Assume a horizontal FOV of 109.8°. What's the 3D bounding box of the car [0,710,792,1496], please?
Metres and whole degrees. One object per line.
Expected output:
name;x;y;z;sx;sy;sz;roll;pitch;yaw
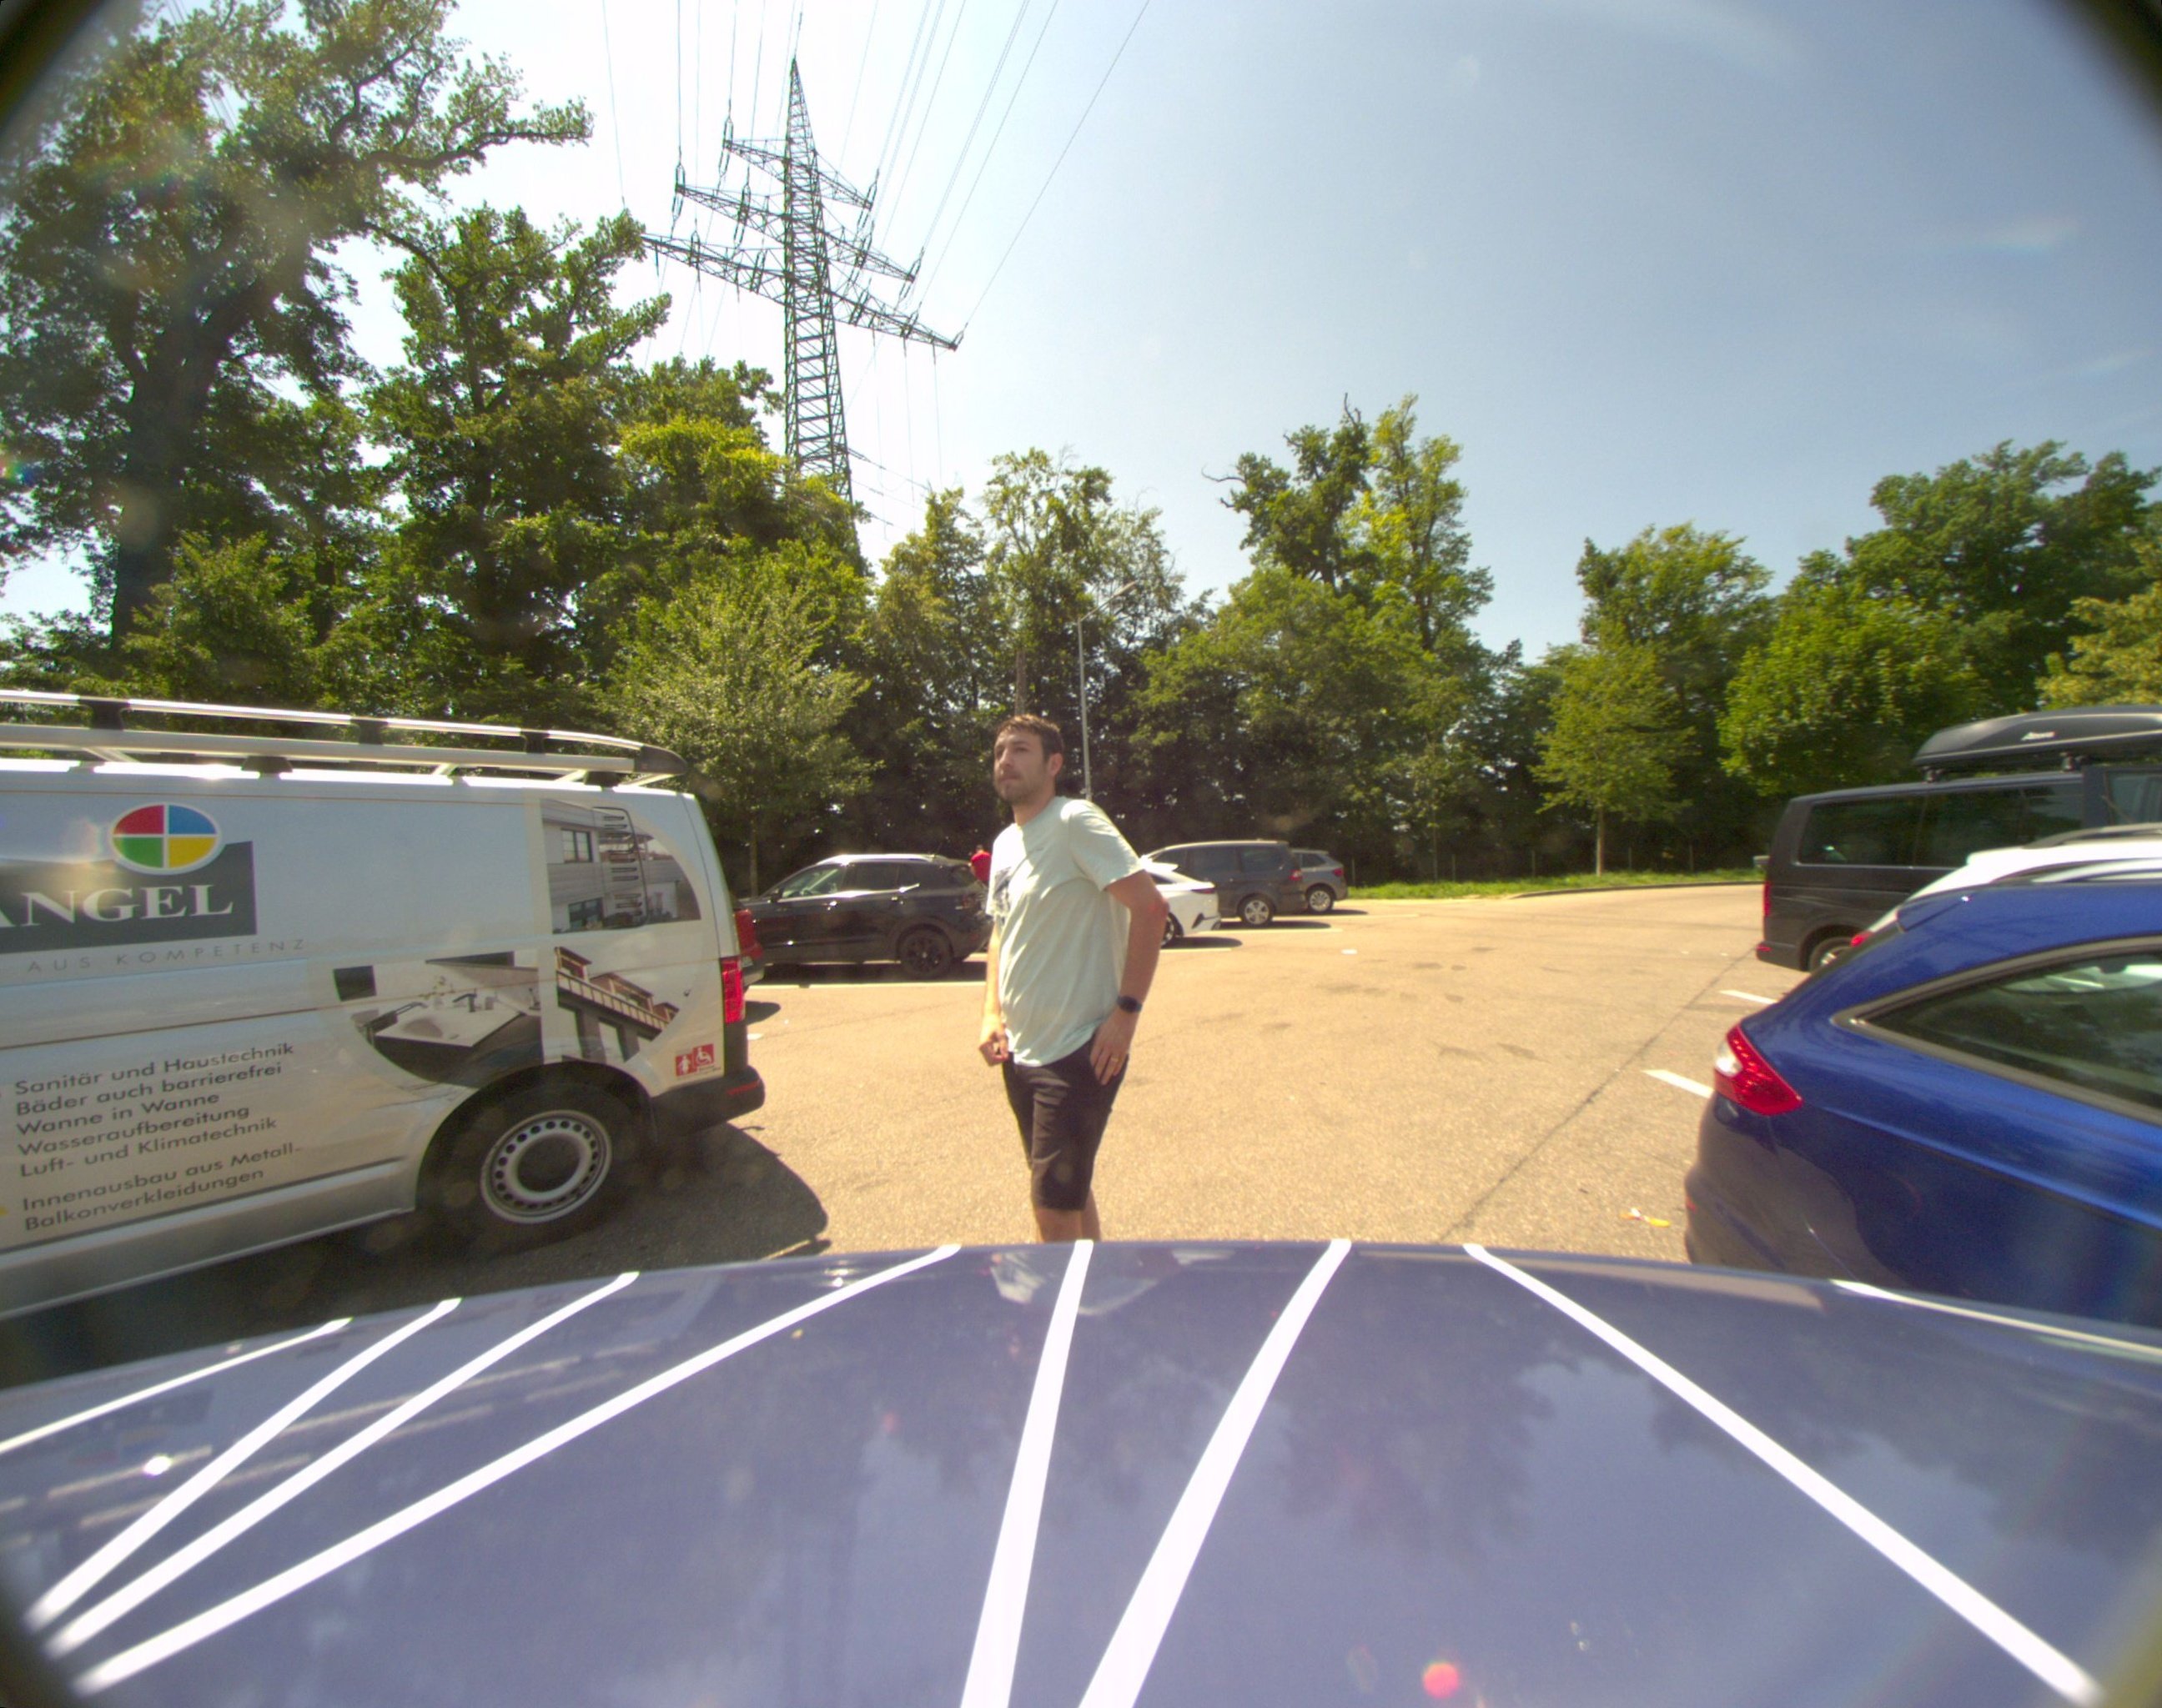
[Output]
car;-3.999;0.714;2.437;1.995;2.137;5.323;-2;-1;45

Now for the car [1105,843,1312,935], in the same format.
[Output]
car;2.513;0.680;15.517;3.882;1.680;1.882;-1;0;5

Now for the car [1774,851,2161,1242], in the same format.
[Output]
car;4.780;0.701;2.453;1.607;1.405;3.743;-2;-1;-1

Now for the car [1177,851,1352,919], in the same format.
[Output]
car;4.261;0.707;18.141;3.805;1.468;1.743;-1;1;5

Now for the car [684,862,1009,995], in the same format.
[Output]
car;-3.005;0.938;10.318;3.806;1.538;1.759;-1;1;2

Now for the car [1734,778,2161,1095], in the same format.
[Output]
car;7.308;0.455;5.048;2.048;1.850;4.430;-2;-1;-1

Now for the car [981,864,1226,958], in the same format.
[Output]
car;0.411;0.907;12.767;3.805;1.359;1.803;-1;1;5

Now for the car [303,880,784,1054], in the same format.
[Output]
car;-5.241;1.064;7.676;3.804;1.449;1.637;-1;1;7

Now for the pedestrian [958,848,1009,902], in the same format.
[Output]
pedestrian;-2.407;0.506;18.743;0.890;1.292;0.865;-2;0;23

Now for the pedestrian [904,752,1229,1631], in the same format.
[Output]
pedestrian;-0.096;0.711;2.054;0.634;1.857;0.747;-2;0;-17
